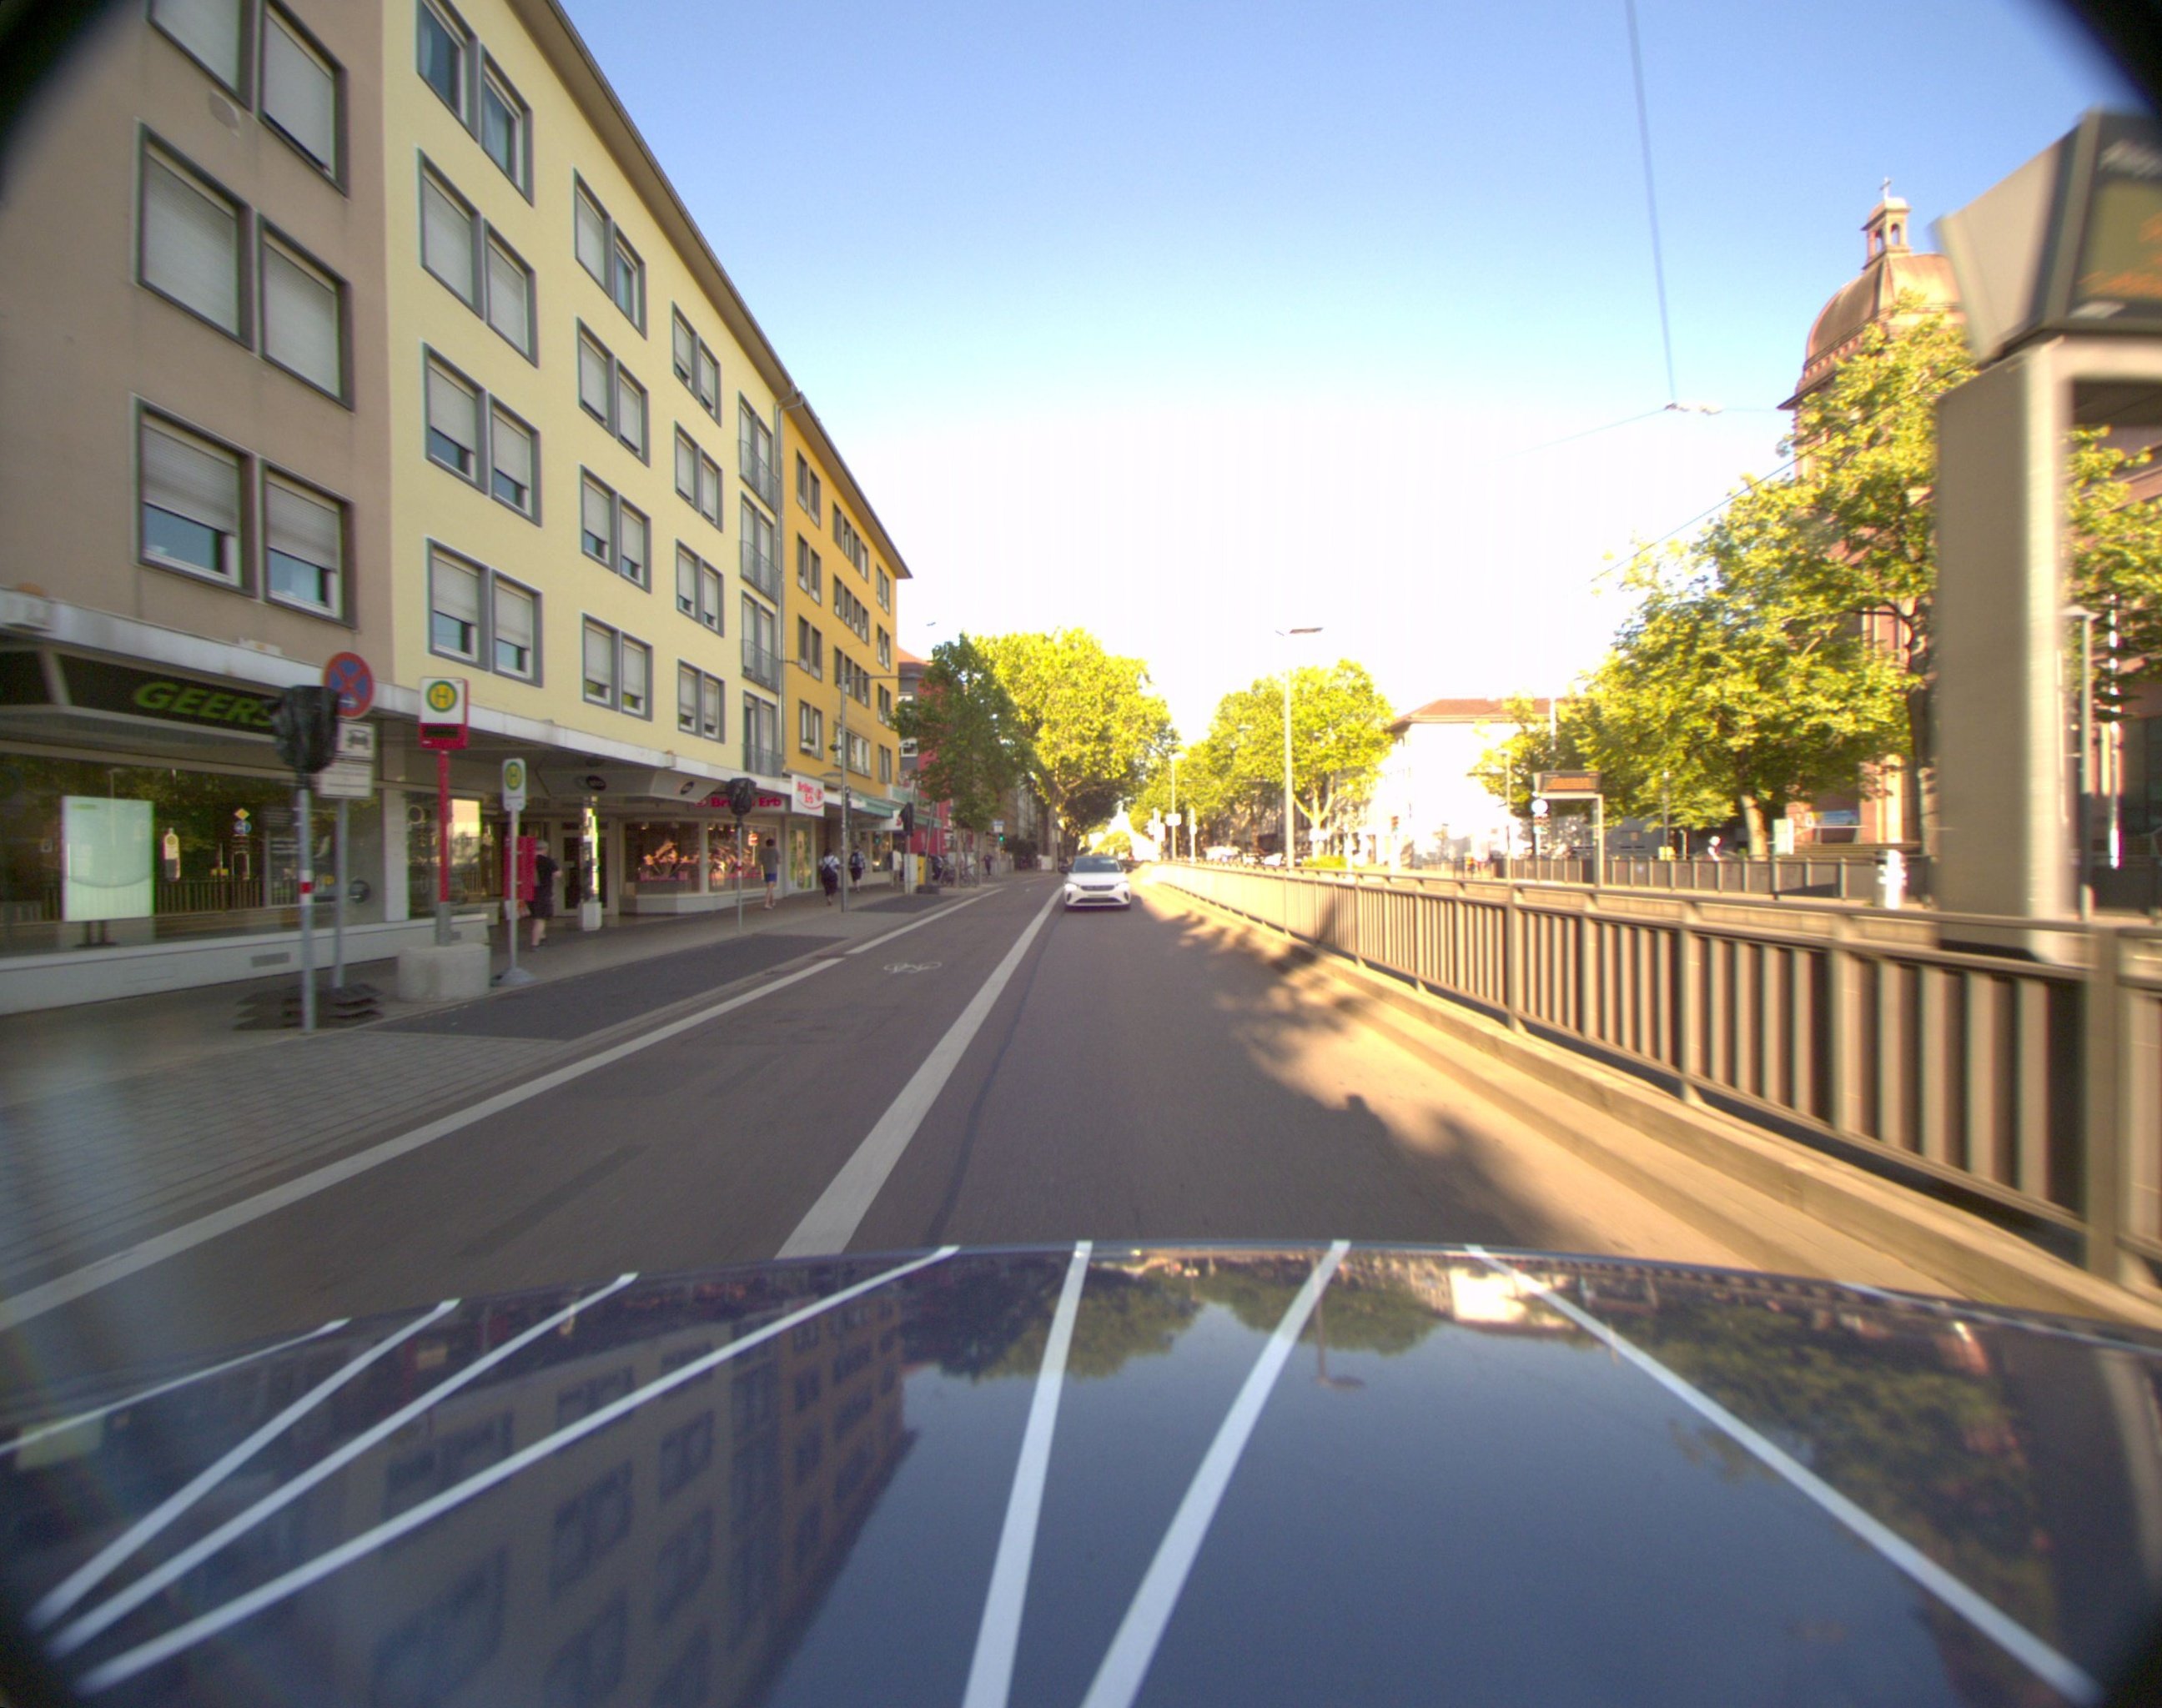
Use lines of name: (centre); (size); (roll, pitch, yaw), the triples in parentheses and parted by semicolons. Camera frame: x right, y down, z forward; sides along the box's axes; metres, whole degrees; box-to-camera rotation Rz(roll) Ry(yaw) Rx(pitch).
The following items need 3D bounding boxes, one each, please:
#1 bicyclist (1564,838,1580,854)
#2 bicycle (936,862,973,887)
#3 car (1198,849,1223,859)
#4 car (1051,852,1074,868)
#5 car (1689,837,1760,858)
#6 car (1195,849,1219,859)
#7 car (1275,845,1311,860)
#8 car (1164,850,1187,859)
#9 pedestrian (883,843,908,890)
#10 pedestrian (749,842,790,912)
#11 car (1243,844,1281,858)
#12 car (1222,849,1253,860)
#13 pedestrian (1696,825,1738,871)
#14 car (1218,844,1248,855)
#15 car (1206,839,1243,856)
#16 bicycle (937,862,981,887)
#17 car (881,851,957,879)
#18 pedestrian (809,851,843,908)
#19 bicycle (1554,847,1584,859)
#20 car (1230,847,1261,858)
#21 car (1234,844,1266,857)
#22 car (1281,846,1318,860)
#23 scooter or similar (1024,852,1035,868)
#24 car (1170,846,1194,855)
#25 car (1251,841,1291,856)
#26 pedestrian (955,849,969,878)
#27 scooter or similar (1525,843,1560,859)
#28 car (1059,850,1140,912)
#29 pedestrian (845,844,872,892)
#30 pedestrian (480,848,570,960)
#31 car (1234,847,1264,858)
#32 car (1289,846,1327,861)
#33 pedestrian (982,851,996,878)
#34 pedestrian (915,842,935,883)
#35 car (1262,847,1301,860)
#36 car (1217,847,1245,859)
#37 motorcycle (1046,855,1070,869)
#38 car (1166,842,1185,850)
bicyclist: (39.986, -0.655, 61.880); (0.968, 1.323, 0.633); (-1, 1, 2)
bicycle: (-5.366, 0.868, 32.372); (1.486, 1.002, 0.454); (-1, 1, -2)
car: (23.174, -0.019, 135.724); (4.005, 1.805, 1.996); (-1, 0, -26)
car: (-1.674, 0.552, 69.887); (1.802, 1.393, 4.370); (1, 0, 1)
car: (46.186, -0.435, 54.646); (1.815, 1.390, 4.001); (-1, -1, 1)
car: (23.038, -0.023, 138.998); (4.005, 1.805, 1.996); (-1, 0, -26)
car: (22.851, -0.181, 81.835); (3.979, 1.495, 1.827); (-1, 0, -42)
car: (18.627, 0.066, 149.354); (4.005, 1.696, 1.996); (-1, 0, -26)
pedestrian: (-7.032, 0.476, 28.902); (0.725, 1.769, 0.766); (-1, 1, 1)
pedestrian: (-8.341, 0.605, 20.363); (0.725, 1.829, 0.766); (-1, 1, 1)
car: (22.107, -0.372, 92.655); (4.259, 1.548, 1.641); (-1, 0, -14)
car: (22.919, 0.042, 111.121); (4.003, 1.509, 1.997); (-1, 0, -19)
pedestrian: (24.613, -0.226, 29.432); (0.921, 1.750, 0.832); (-1, 2, 3)
car: (22.841, -0.677, 114.237); (4.005, 1.608, 1.996); (-1, 1, -26)
car: (23.364, -0.999, 123.571); (5.619, 2.684, 2.176); (-1, 1, -23)
bicycle: (-5.276, 0.881, 32.967); (1.803, 1.002, 0.541); (1, 1, -2)
car: (-10.188, 0.694, 48.073); (4.352, 1.677, 1.772); (-1, 1, 0)
pedestrian: (-7.159, 0.699, 21.381); (0.612, 1.569, 0.851); (-1, 1, 2)
bicycle: (39.747, -0.057, 61.878); (1.987, 0.974, 0.633); (-1, 1, 2)
car: (23.191, -0.230, 106.918); (4.265, 1.449, 1.902); (-1, 0, -35)
car: (22.229, -0.485, 99.600); (4.266, 1.605, 1.902); (-2, 1, -41)
car: (22.646, -0.103, 78.749); (3.979, 1.424, 1.738); (-1, -1, -42)
scooter or similar: (-4.641, 0.512, 68.642); (0.666, 1.461, 2.545); (-1, 0, 1)
car: (19.948, -0.644, 150.089); (4.234, 1.696, 1.999); (-1, 0, -3)
car: (21.960, -0.649, 87.692); (4.265, 1.674, 2.147); (-1, 0, -34)
pedestrian: (-7.442, 0.575, 47.527); (0.745, 1.770, 0.894); (-1, 2, 1)
scooter or similar: (33.466, -0.217, 55.133); (1.096, 1.120, 2.448); (-1, 1, 1)
car: (0.440, 0.634, 19.963); (1.865, 1.394, 3.932); (-2, 0, 0)
pedestrian: (-8.047, 0.509, 27.543); (0.725, 1.713, 0.766); (-1, 1, 1)
pedestrian: (-8.324, 0.726, 11.407); (0.725, 1.623, 0.766); (-1, 1, 1)
car: (22.916, -0.161, 103.644); (4.265, 1.451, 1.598); (-1, 0, -35)
car: (22.458, -0.057, 75.250); (3.979, 1.423, 1.767); (-1, 0, -42)
pedestrian: (-5.910, 0.646, 48.982); (0.728, 1.701, 0.816); (2, 1, 1)
pedestrian: (-6.963, 0.382, 33.918); (0.725, 1.796, 0.766); (-1, 1, 1)
car: (22.317, -0.083, 84.454); (4.266, 1.369, 2.147); (-1, 0, -39)
car: (23.784, -0.204, 120.474); (4.006, 1.805, 1.995); (1, 1, -26)
motorcycle: (-1.903, 0.682, 62.462); (1.895, 1.104, 0.783); (2, -1, -42)
car: (24.250, -2.088, 195.782); (4.951, 2.200, 2.096); (-1, 1, -41)
